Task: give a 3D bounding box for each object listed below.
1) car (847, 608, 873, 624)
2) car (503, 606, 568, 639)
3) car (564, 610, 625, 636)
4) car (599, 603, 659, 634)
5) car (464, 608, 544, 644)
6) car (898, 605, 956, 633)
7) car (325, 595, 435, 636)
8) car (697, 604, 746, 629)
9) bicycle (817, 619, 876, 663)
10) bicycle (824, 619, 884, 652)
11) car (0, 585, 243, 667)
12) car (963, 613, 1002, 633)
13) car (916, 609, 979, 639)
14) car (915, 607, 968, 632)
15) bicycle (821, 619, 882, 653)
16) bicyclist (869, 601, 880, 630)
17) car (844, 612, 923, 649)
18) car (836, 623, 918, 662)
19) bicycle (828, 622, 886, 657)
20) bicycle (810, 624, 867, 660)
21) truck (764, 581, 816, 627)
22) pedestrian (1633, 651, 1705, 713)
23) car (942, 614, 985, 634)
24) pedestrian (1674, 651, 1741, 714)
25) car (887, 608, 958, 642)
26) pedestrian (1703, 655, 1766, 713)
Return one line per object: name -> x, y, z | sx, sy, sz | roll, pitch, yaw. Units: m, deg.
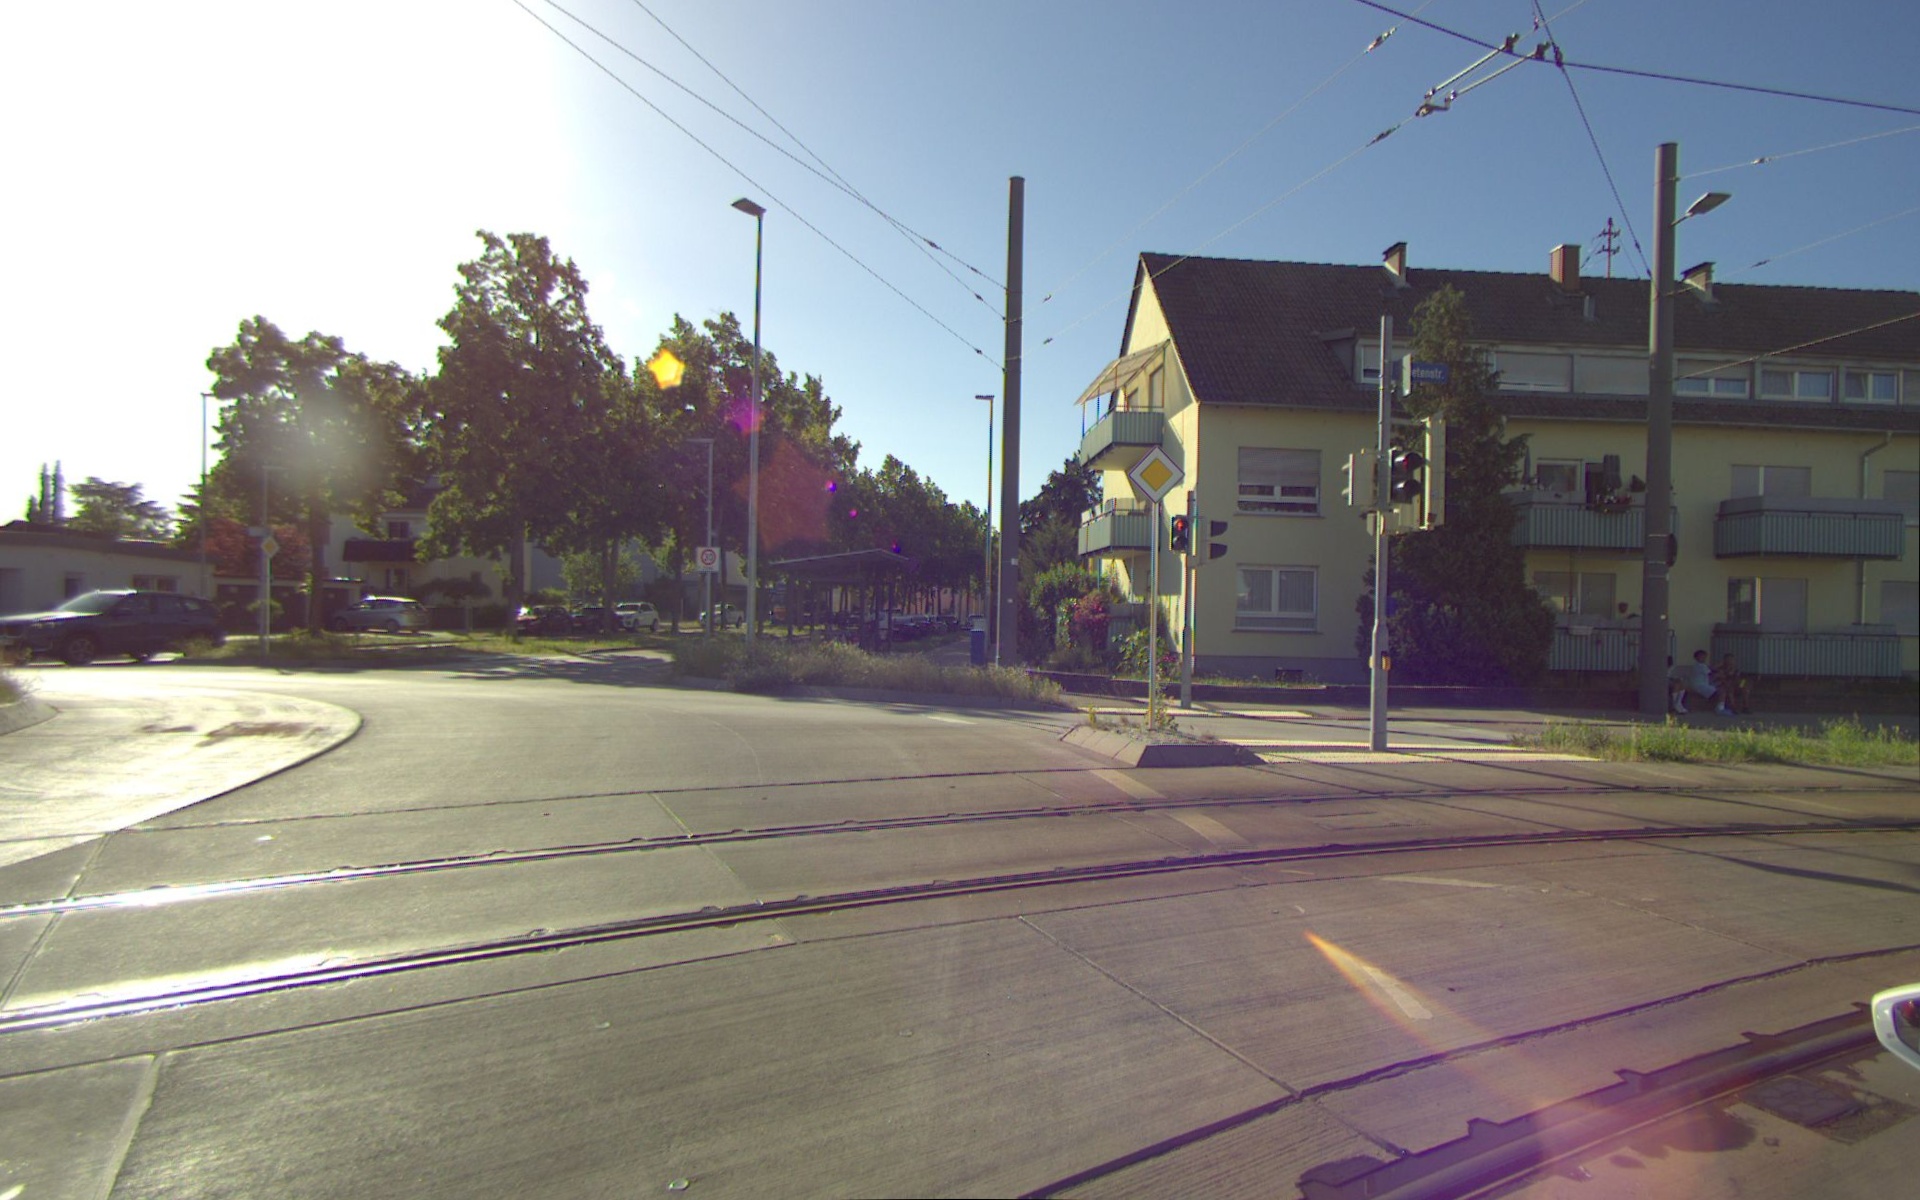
car -> -11.570, 1.905, 115.932 | 1.959, 1.722, 4.221 | 3, -1, 8
car -> -21.243, 1.118, 50.395 | 1.771, 1.484, 3.800 | 3, -1, -4
car -> -20.503, 1.265, 56.540 | 1.929, 1.341, 4.000 | 3, -1, -1
car -> -20.149, 1.139, 61.294 | 1.960, 1.722, 4.220 | 3, -1, 3
car -> -19.535, 1.105, 43.180 | 1.568, 1.382, 4.000 | 3, -1, -1
car -> -2.093, 1.216, 63.829 | 3.457, 1.553, 1.455 | 3, -1, 4
car -> -27.130, 0.741, 47.096 | 3.969, 1.717, 2.001 | 3, -1, 5
car -> -18.421, 1.287, 77.824 | 1.959, 1.796, 5.063 | 3, -1, 7
bicycle -> -3.431, 1.228, 30.354 | 1.638, 1.224, 0.689 | 3, 0, 0
bicycle -> -3.683, 1.240, 35.009 | 1.940, 1.041, 0.689 | 3, -1, 0
car -> -19.014, 0.572, 22.784 | 1.799, 1.601, 4.444 | 3, -1, 10
car -> 1.985, 2.026, 87.725 | 3.303, 1.553, 1.523 | 3, -1, 3
car -> -0.688, 1.390, 58.197 | 3.457, 1.553, 1.578 | 3, -1, 4
car -> -1.250, 1.346, 69.497 | 3.457, 1.553, 1.578 | 3, -1, 4
bicycle -> -3.672, 1.226, 34.058 | 1.940, 1.041, 0.696 | 3, -1, 0
bicyclist -> -5.256, 0.939, 61.874 | 0.593, 1.736, 0.544 | 1, -4, -4
car -> -3.594, 1.430, 47.463 | 3.457, 1.553, 1.578 | 3, -1, 4
car -> -3.740, 1.932, 45.657 | 3.457, 1.553, 1.578 | 3, -1, 4
bicycle -> -3.390, 1.305, 33.150 | 1.810, 1.041, 0.689 | 3, -1, 0
bicycle -> -3.822, 1.320, 31.644 | 1.662, 1.041, 0.599 | 3, -1, 0
truck -> -16.043, 0.408, 95.401 | 3.018, 4.046, 8.011 | 3, 0, 3
pedestrian -> 12.947, 1.481, 18.361 | 0.675, 1.060, 0.819 | 2, 0, -6
car -> 0.292, 1.934, 81.957 | 3.353, 1.554, 1.526 | 1, 0, 8
pedestrian -> 13.781, 1.508, 18.524 | 0.621, 1.079, 0.811 | 3, -1, -36
car -> -1.910, 1.292, 52.172 | 3.457, 1.553, 1.578 | 3, -1, 4
pedestrian -> 14.384, 1.552, 18.667 | 0.587, 1.019, 0.719 | 3, -1, -27
